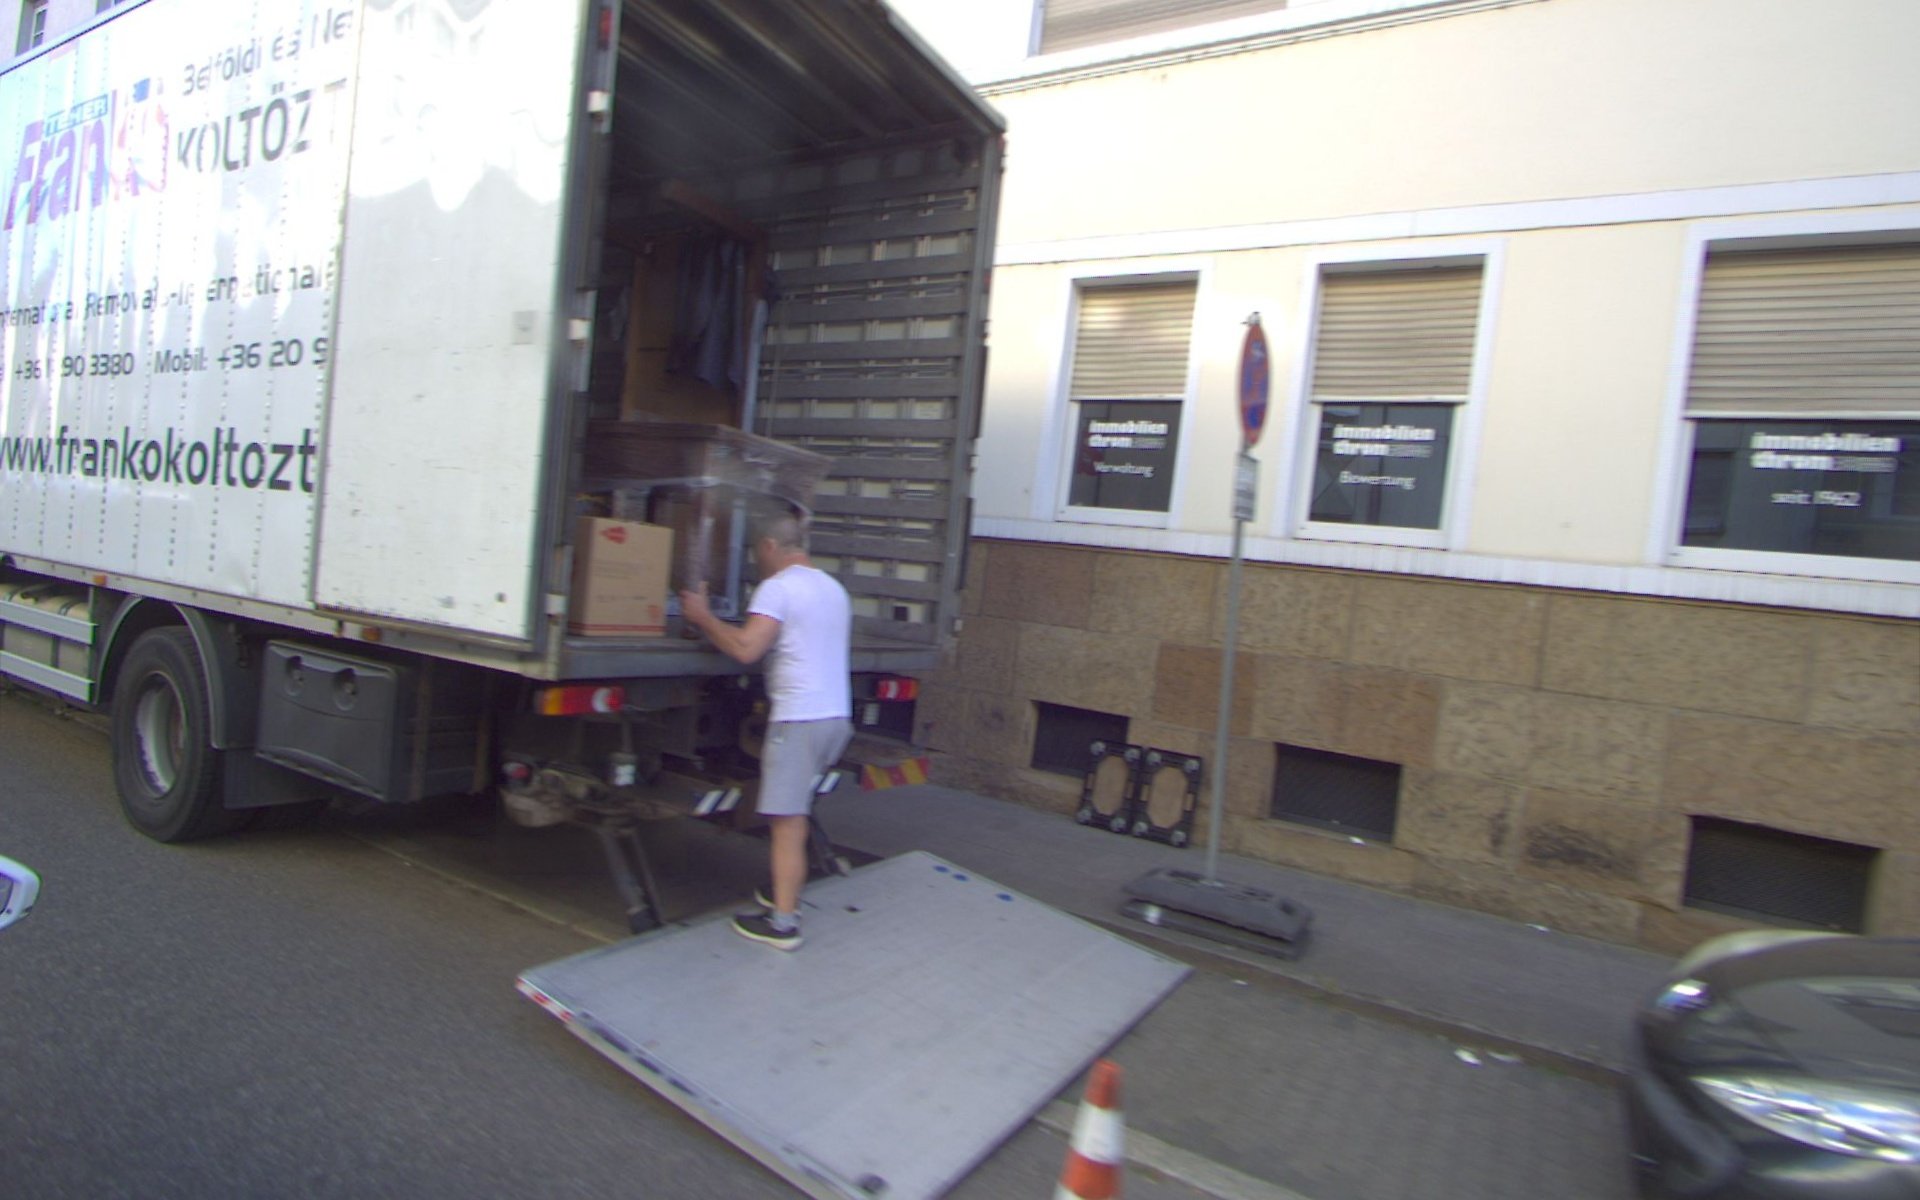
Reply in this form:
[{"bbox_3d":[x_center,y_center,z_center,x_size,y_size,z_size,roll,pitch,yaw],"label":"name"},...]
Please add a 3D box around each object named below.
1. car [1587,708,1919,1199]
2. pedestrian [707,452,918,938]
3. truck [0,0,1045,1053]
[{"bbox_3d":[3.599,1.283,1.953,3.814,1.482,1.584,7,1,29],"label":"car"},{"bbox_3d":[-0.582,0.357,4.033,0.409,1.798,0.513,7,1,32],"label":"pedestrian"},{"bbox_3d":[-5.406,-1.215,7.214,11.582,4.124,2.863,7,1,32],"label":"truck"}]
